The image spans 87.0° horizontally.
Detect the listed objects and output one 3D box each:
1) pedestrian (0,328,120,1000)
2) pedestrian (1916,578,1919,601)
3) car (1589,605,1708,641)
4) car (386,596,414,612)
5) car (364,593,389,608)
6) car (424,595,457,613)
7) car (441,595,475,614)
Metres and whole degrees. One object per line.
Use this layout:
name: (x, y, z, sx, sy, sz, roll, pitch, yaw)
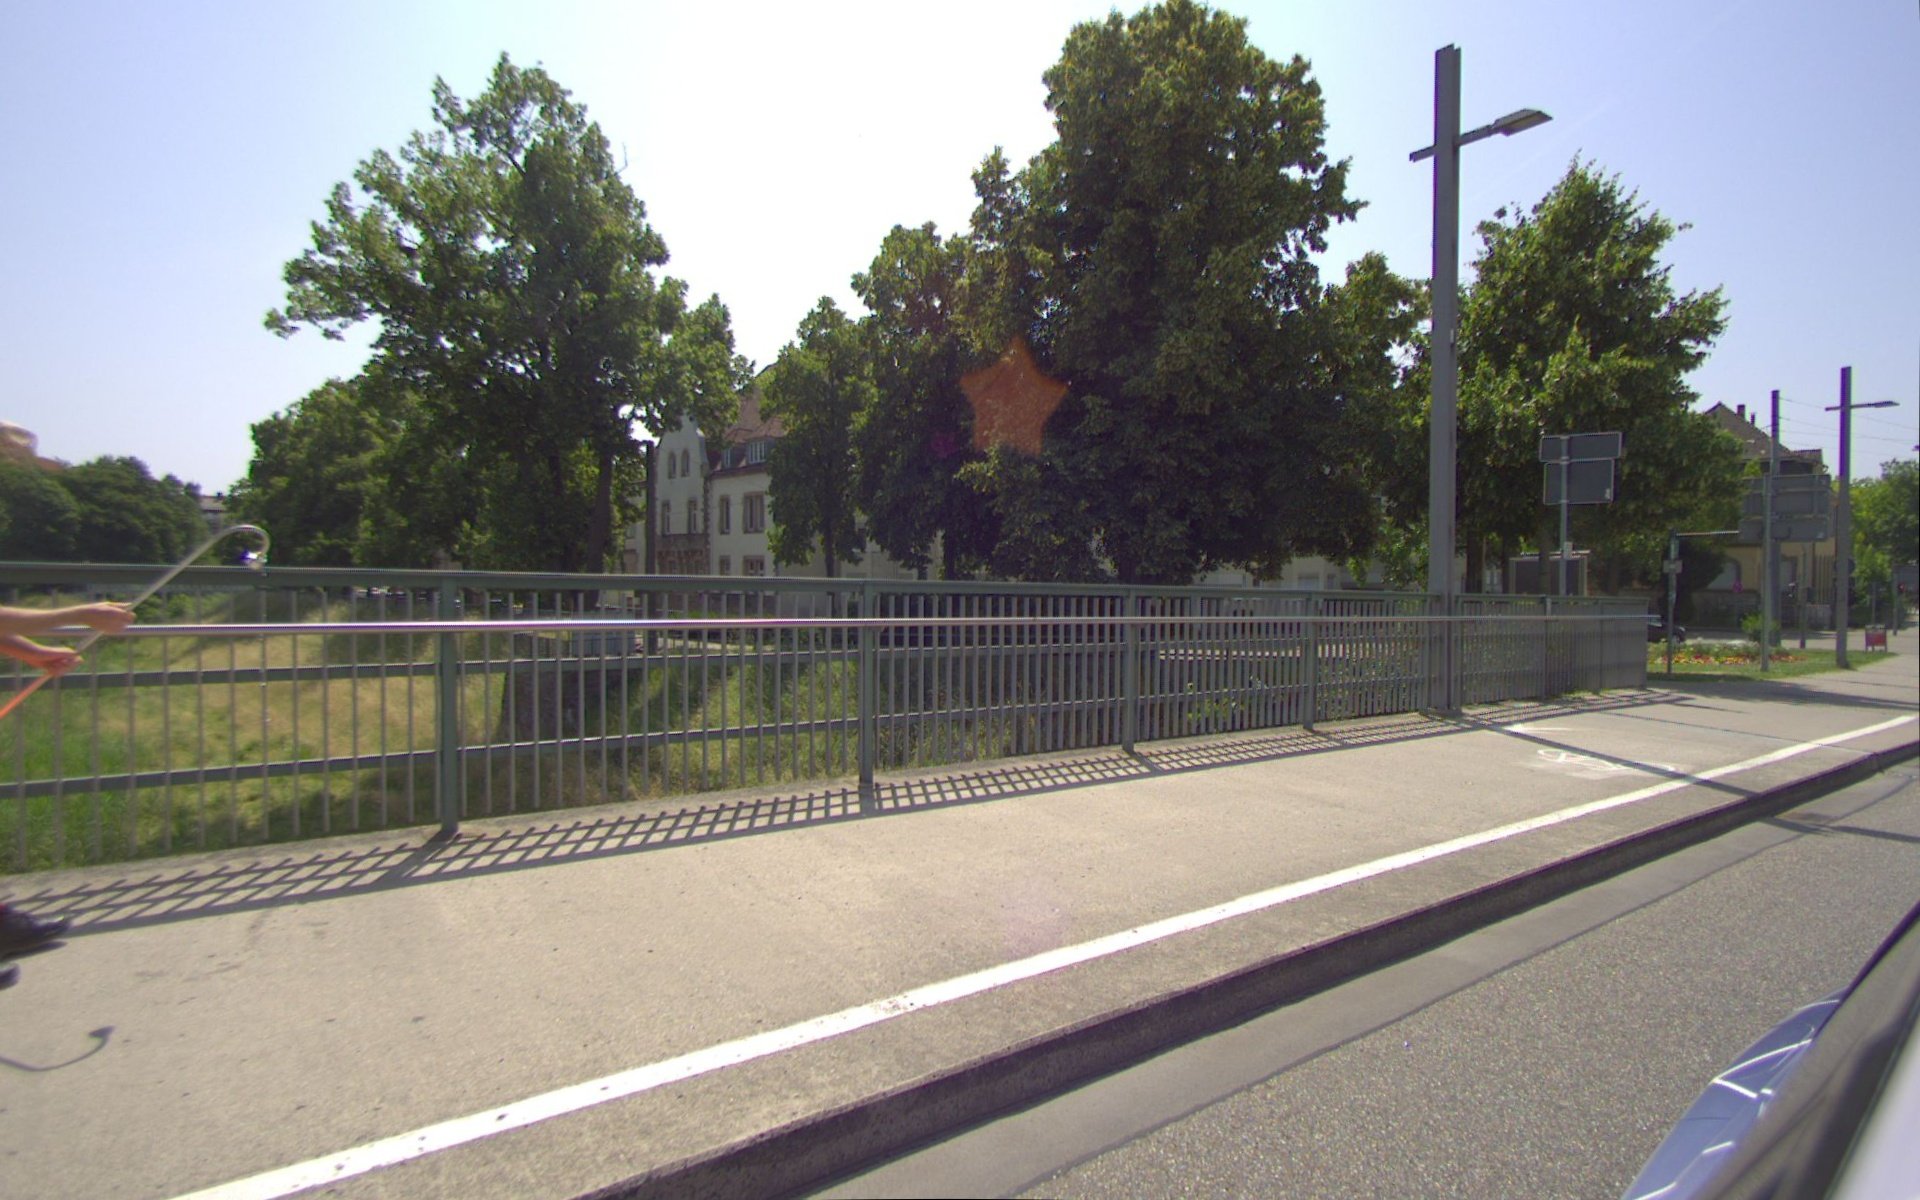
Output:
pedestrian: (-3.117, 0.191, 3.139, 0.659, 1.984, 0.549, -1, 2, -31)
pedestrian: (80.584, -0.883, 84.834, 0.620, 1.942, 0.732, 1, 2, 45)
car: (35.439, 1.172, 52.194, 4.732, 1.652, 1.916, -1, 2, 4)
car: (-58.383, 0.421, 105.565, 1.796, 1.572, 3.993, 0, -1, -41)
car: (-65.129, 0.091, 112.957, 1.796, 1.572, 3.993, 0, -1, -41)
car: (-48.660, 0.364, 94.769, 1.796, 1.572, 4.125, 0, -1, -41)
car: (-44.920, 0.385, 90.547, 1.796, 1.572, 3.992, 0, -2, -41)
